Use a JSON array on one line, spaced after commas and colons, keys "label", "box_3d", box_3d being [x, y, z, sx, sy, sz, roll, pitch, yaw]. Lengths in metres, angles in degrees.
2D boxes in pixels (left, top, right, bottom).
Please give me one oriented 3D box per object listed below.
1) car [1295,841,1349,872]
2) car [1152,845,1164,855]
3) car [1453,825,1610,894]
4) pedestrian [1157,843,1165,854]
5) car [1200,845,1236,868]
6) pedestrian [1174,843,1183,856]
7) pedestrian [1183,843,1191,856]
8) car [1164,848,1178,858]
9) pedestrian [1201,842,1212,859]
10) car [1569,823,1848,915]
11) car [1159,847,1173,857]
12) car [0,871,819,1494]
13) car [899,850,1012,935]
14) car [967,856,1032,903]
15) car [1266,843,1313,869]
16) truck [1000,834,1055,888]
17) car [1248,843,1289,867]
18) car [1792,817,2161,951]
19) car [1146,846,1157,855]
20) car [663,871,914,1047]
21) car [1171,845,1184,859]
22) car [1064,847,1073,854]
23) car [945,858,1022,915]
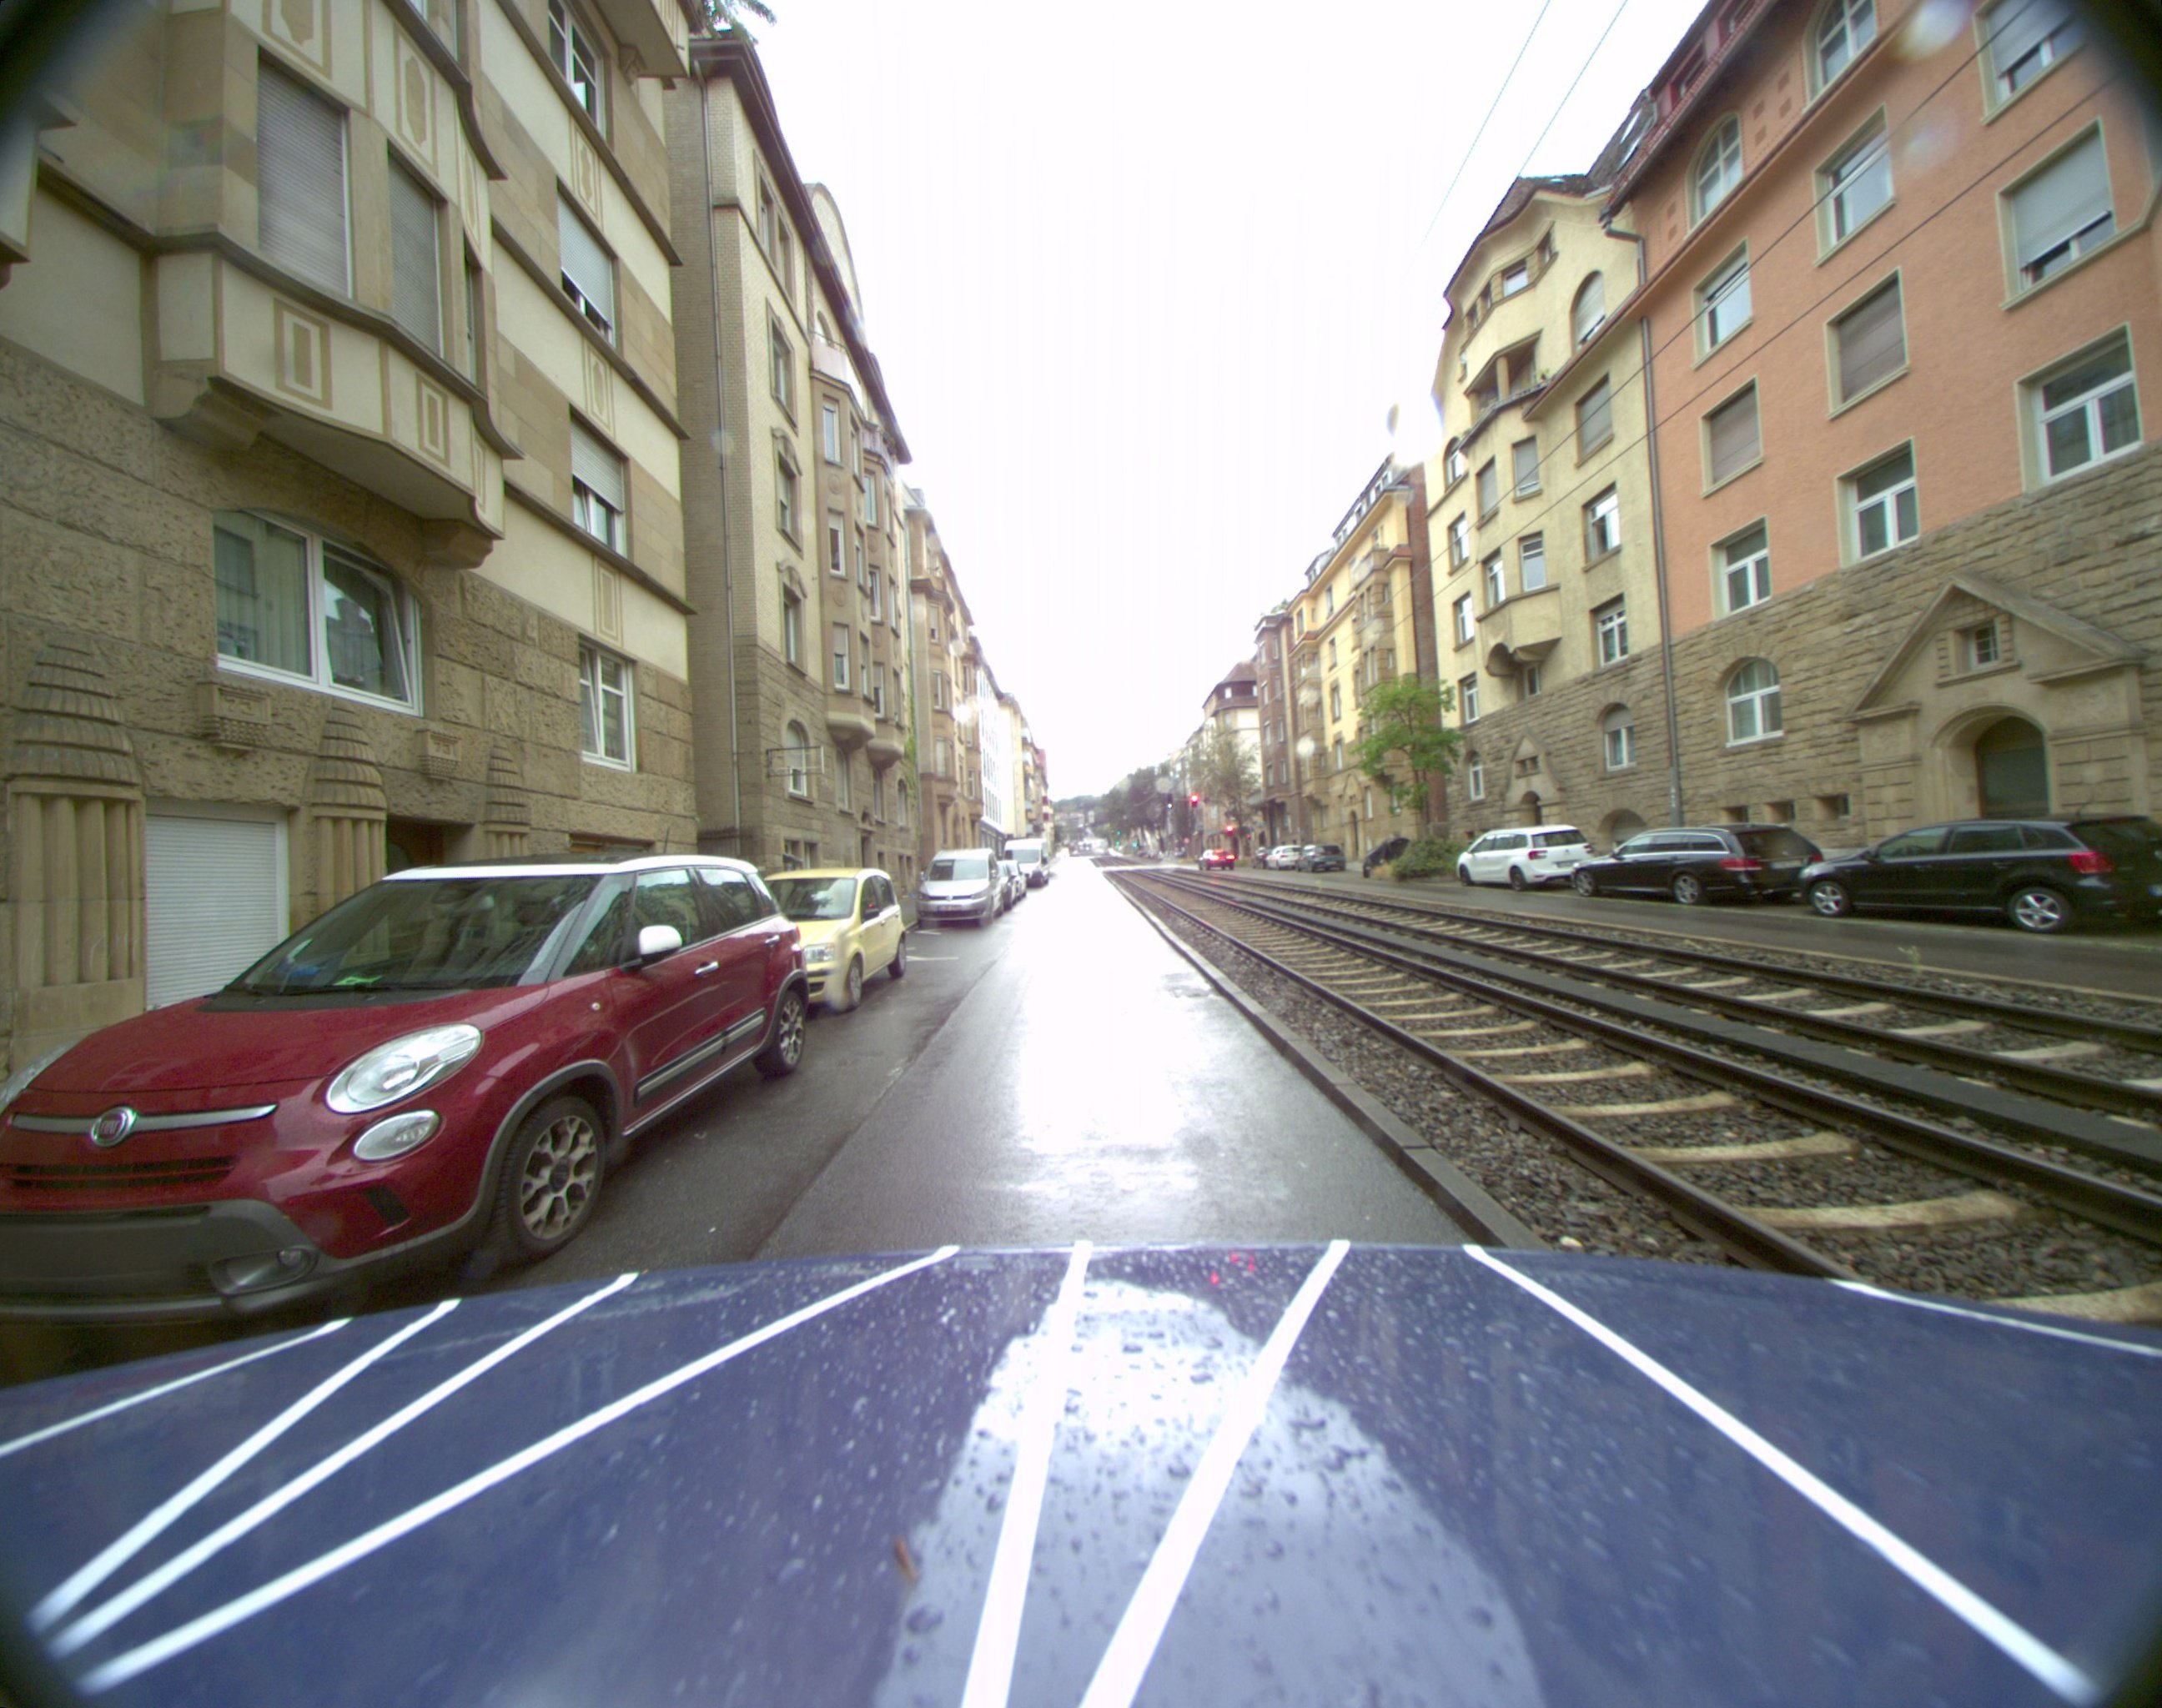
[{"label": "car", "box_3d": [12.507, 0.125, 39.628, 1.678, 1.433, 3.845, -4, 1, 3]}, {"label": "car", "box_3d": [12.836, -0.654, 126.849, 1.657, 1.589, 3.775, -3, 0, 1]}, {"label": "car", "box_3d": [12.277, 0.132, 21.060, 1.867, 1.646, 4.146, -3, 0, 1]}, {"label": "pedestrian", "box_3d": [15.393, -1.050, 145.862, 1.380, 1.946, 1.379, -3, 1, 2]}, {"label": "car", "box_3d": [9.713, 0.155, 54.085, 1.807, 1.514, 4.965, -3, 0, 2]}, {"label": "pedestrian", "box_3d": [15.062, -0.636, 117.364, 1.056, 1.946, 1.163, -3, 1, 2]}, {"label": "pedestrian", "box_3d": [16.324, -0.684, 117.353, 1.056, 1.946, 1.163, -3, 1, 2]}, {"label": "car", "box_3d": [12.573, -0.106, 106.397, 1.583, 1.303, 3.845, -3, 0, 1]}, {"label": "pedestrian", "box_3d": [14.662, -0.451, 88.872, 1.056, 1.946, 1.163, -3, 1, 2]}, {"label": "car", "box_3d": [12.296, 0.246, 15.398, 1.847, 1.486, 4.601, -3, 0, 1]}, {"label": "car", "box_3d": [12.868, -0.296, 115.379, 1.771, 1.507, 3.845, -3, 0, 1]}, {"label": "car", "box_3d": [-3.028, 0.984, 4.106, 1.807, 1.590, 3.999, -3, 0, -1]}, {"label": "car", "box_3d": [-3.006, 0.853, 19.212, 1.968, 1.792, 4.459, -3, 0, 1]}, {"label": "car", "box_3d": [-2.949, 0.884, 28.330, 1.891, 1.521, 3.929, -3, 0, 1]}, {"label": "car", "box_3d": [12.474, 0.114, 45.667, 1.771, 1.433, 4.031, -3, 0, 2]}, {"label": "truck", "box_3d": [-2.720, 0.344, 39.959, 2.235, 2.521, 6.143, -3, 0, 1]}, {"label": "car", "box_3d": [12.484, 0.060, 50.762, 1.771, 1.433, 3.845, -3, 0, 1]}, {"label": "car", "box_3d": [12.533, 0.313, 10.480, 1.935, 1.488, 3.641, -2, 1, -2]}, {"label": "car", "box_3d": [12.432, -0.654, 133.718, 1.632, 1.537, 3.801, -3, 0, 1]}, {"label": "car", "box_3d": [-3.184, 1.046, 9.054, 1.580, 1.520, 3.578, -3, 0, -1]}, {"label": "car", "box_3d": [12.671, -0.251, 99.559, 1.583, 1.669, 3.790, -3, 2, 7]}, {"label": "car", "box_3d": [-3.160, -0.893, 190.396, 1.998, 1.838, 4.000, -3, 0, 1]}, {"label": "car", "box_3d": [-2.960, 0.942, 23.829, 1.999, 1.521, 3.999, -3, 0, -3]}]
